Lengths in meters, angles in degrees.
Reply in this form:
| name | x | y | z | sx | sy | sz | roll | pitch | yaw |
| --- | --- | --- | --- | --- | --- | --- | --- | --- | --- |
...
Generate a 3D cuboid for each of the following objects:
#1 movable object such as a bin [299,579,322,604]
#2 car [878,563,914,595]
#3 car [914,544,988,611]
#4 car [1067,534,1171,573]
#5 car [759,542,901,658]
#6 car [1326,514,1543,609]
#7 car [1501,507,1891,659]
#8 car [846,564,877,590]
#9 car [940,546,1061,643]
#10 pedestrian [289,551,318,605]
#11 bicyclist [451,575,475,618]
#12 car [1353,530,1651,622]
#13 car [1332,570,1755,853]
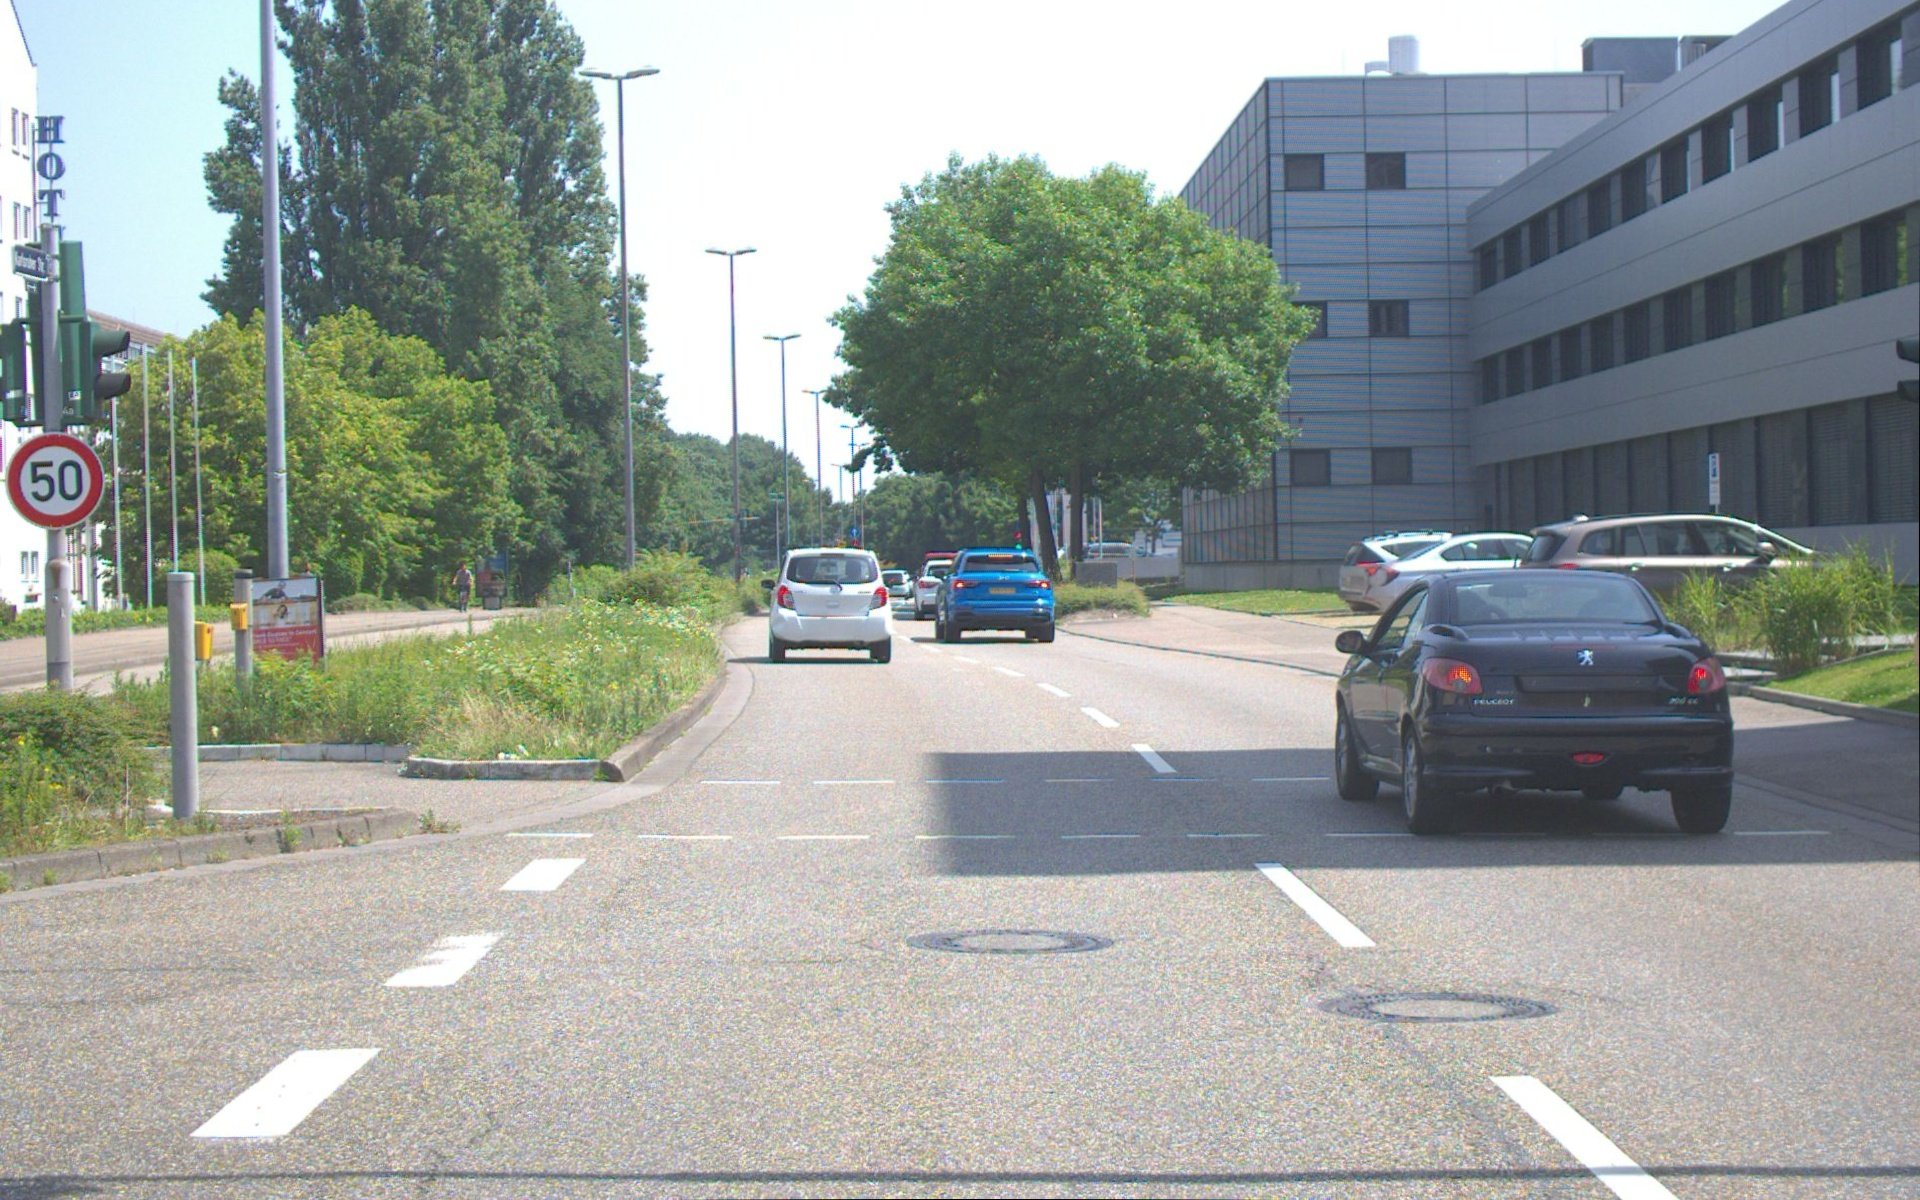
| name | x | y | z | sx | sy | sz | roll | pitch | yaw |
| --- | --- | --- | --- | --- | --- | --- | --- | --- | --- |
| movable object such as a bin | -18.674 | -0.240 | 98.824 | 0.428 | 0.703 | 0.652 | -2 | 0 | 8 |
| car | -3.435 | -1.127 | 183.999 | 1.819 | 1.656 | 4.000 | -1 | 1 | -1 |
| car | -0.197 | -0.541 | 80.718 | 1.559 | 1.515 | 3.605 | -1 | 1 | 2 |
| car | 7.155 | -2.103 | 155.060 | 4.499 | 1.577 | 2.000 | -2 | 0 | -1 |
| car | -1.740 | -0.029 | 47.045 | 1.748 | 1.515 | 3.746 | 0 | 1 | 1 |
| car | 9.249 | -0.747 | 67.127 | 3.811 | 1.586 | 1.733 | -4 | 1 | -5 |
| car | 9.049 | -0.222 | 42.490 | 4.258 | 1.683 | 2.000 | -2 | 1 | -5 |
| car | -6.498 | -1.533 | 227.227 | 1.819 | 1.656 | 4.001 | -2 | 1 | -5 |
| car | 0.661 | -0.120 | 58.591 | 1.827 | 1.575 | 3.606 | -1 | 1 | -2 |
| pedestrian | -18.958 | -0.641 | 99.287 | 0.633 | 1.539 | 0.727 | -2 | 0 | -1 |
| bicyclist | -17.496 | -0.128 | 120.934 | 0.717 | 1.511 | 1.027 | -2 | 0 | -4 |
| car | 9.151 | -0.415 | 58.248 | 4.612 | 1.385 | 2.000 | -2 | 1 | -4 |
| car | 3.085 | 0.536 | 18.822 | 1.627 | 1.359 | 3.606 | 0 | 1 | -1 |
